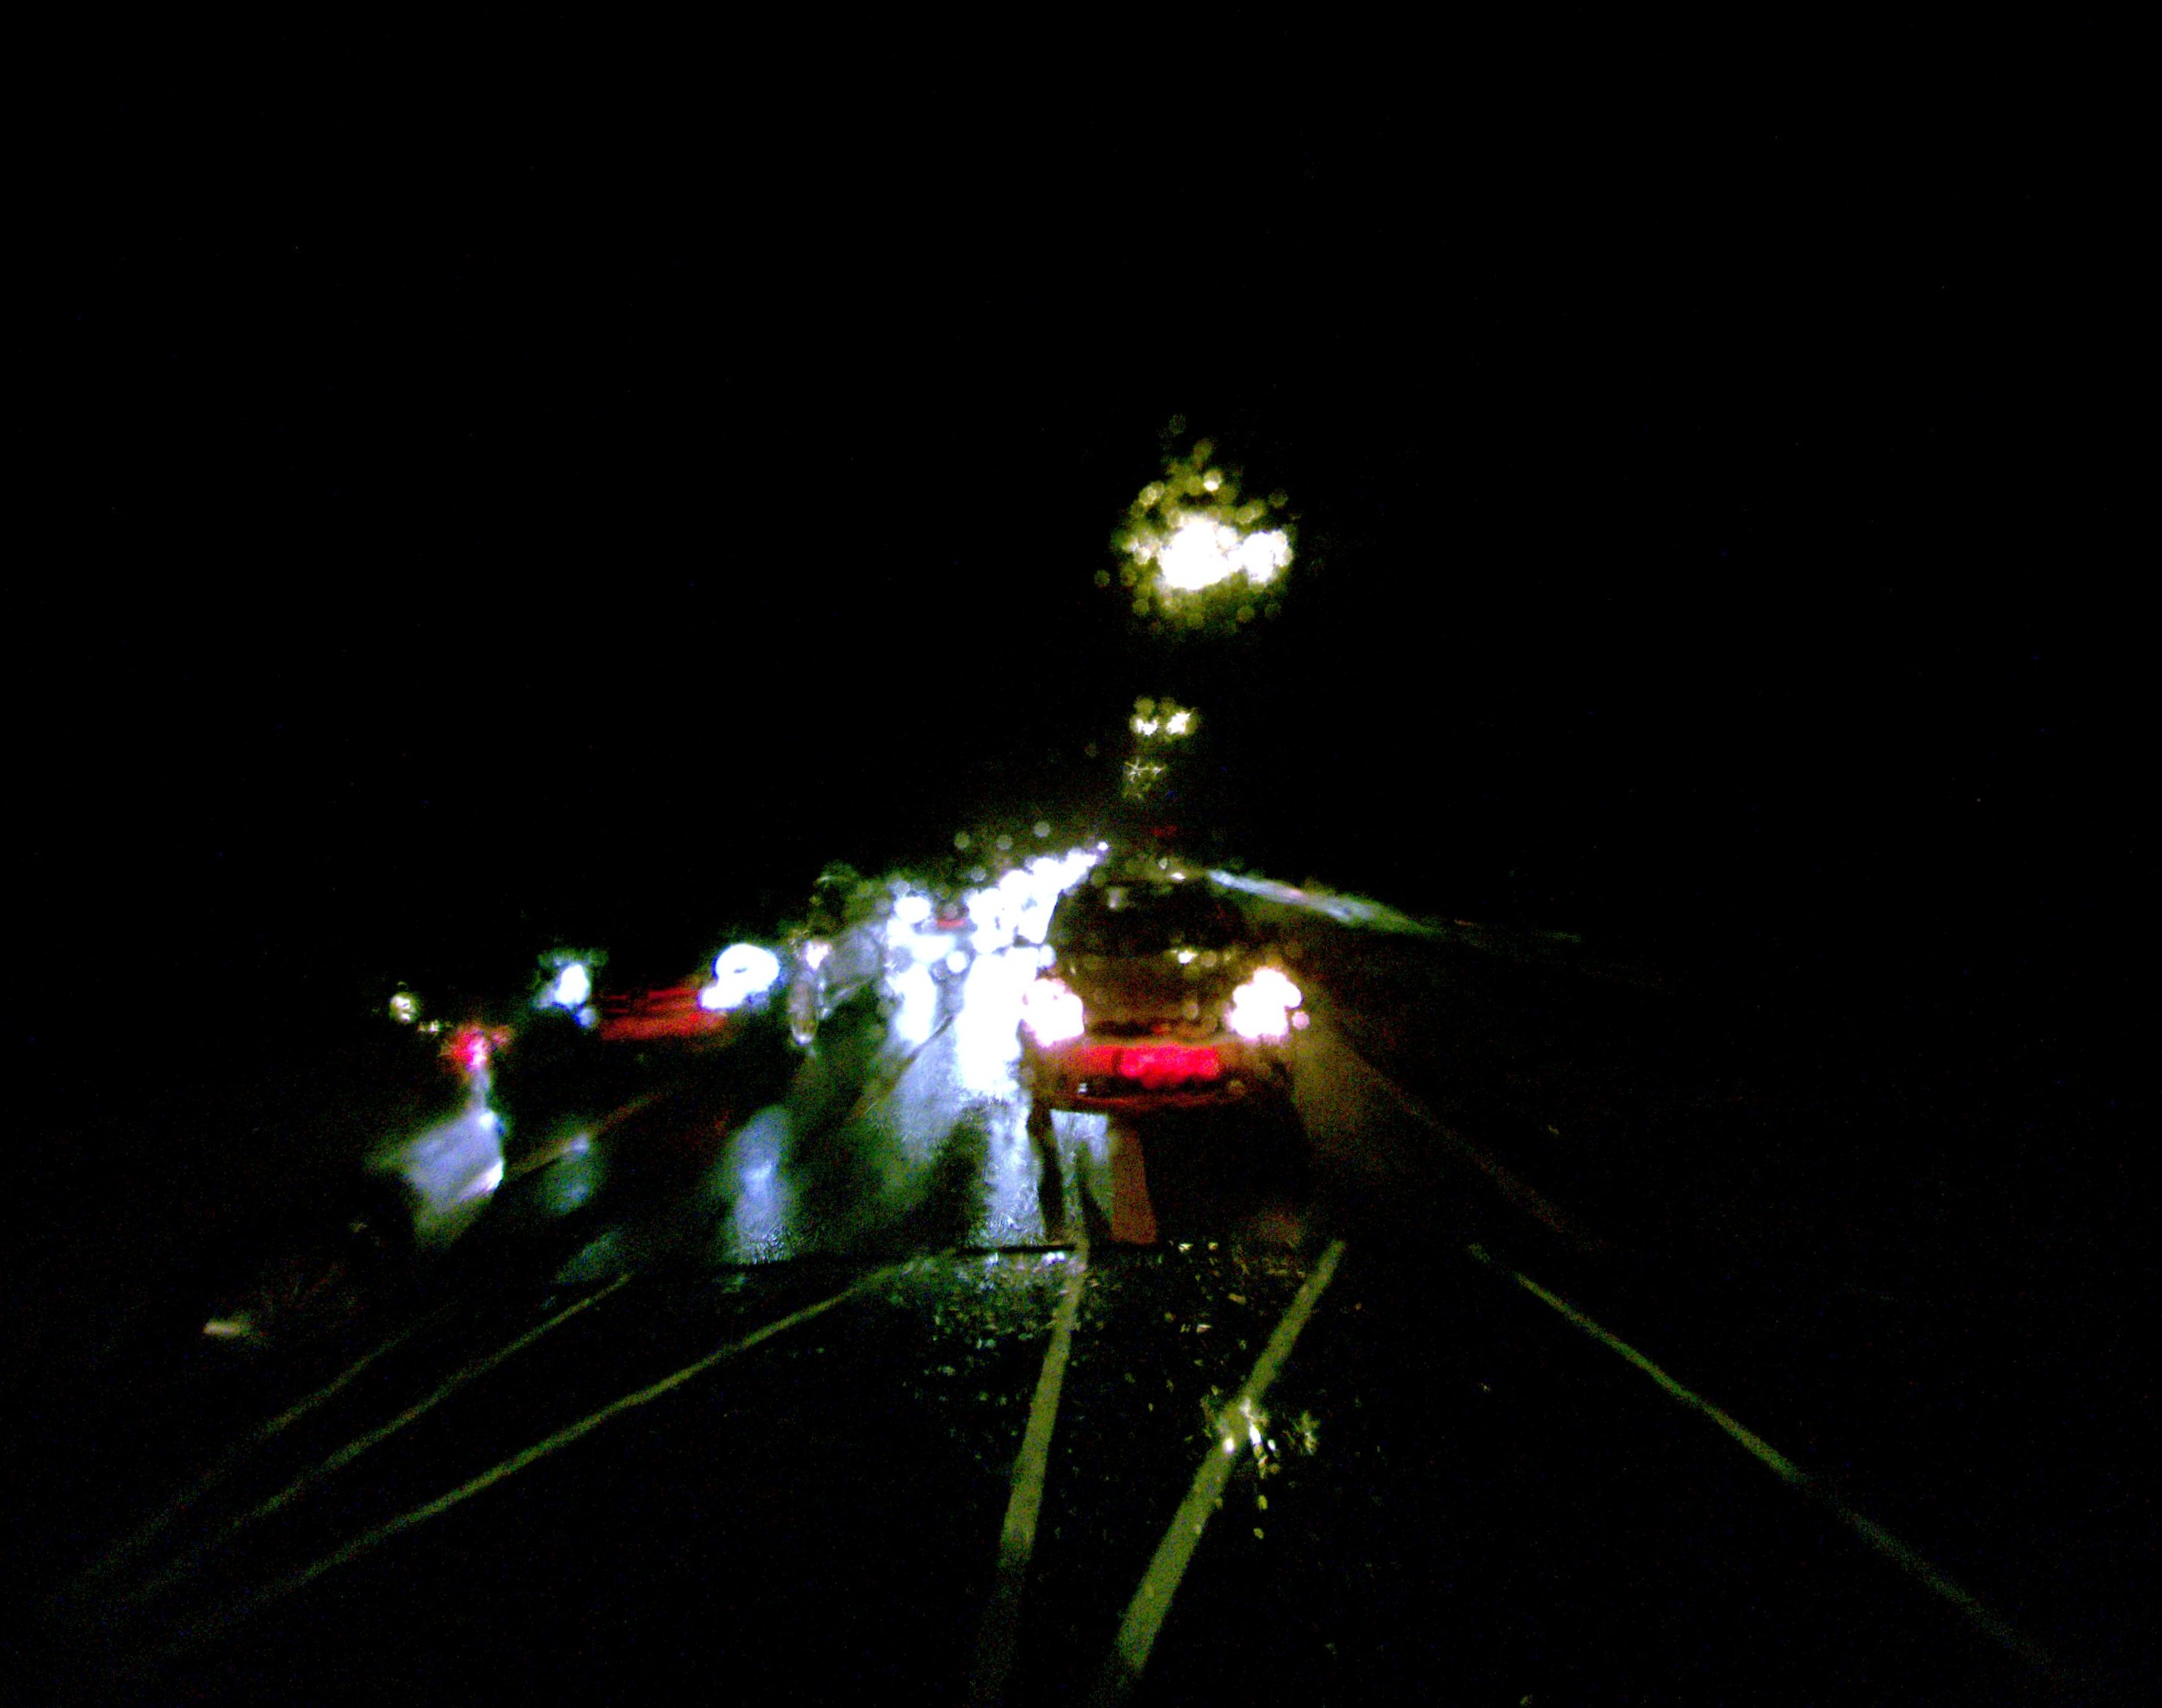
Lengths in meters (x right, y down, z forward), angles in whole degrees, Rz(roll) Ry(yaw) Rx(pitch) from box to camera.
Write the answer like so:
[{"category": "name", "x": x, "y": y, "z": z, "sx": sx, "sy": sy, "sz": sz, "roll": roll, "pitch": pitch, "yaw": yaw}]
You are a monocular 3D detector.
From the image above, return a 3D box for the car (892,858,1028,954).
[{"category": "car", "x": -2.266, "y": 0.921, "z": 15.475, "sx": 1.998, "sy": 1.589, "sz": 4.391, "roll": -1, "pitch": 1, "yaw": 1}]

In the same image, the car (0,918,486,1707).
[{"category": "car", "x": -3.068, "y": 1.041, "z": 0.513, "sx": 1.711, "sy": 1.513, "sz": 4.414, "roll": -2, "pitch": 1, "yaw": 1}]

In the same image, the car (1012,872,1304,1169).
[{"category": "car", "x": 0.434, "y": 0.931, "z": 5.751, "sx": 1.497, "sy": 1.416, "sz": 3.389, "roll": -3, "pitch": 1, "yaw": 1}]

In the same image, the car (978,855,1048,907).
[{"category": "car", "x": -2.297, "y": 0.888, "z": 26.883, "sx": 1.998, "sy": 1.589, "sz": 4.391, "roll": -1, "pitch": 1, "yaw": 1}]

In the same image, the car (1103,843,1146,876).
[{"category": "car", "x": 2.204, "y": 0.253, "z": 39.642, "sx": 1.998, "sy": 1.574, "sz": 4.000, "roll": -2, "pitch": 1, "yaw": 1}]

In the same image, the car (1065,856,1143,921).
[{"category": "car", "x": 0.585, "y": 0.848, "z": 20.596, "sx": 1.838, "sy": 1.417, "sz": 3.698, "roll": -4, "pitch": 1, "yaw": 1}]

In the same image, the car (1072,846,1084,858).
[{"category": "car", "x": -0.515, "y": -0.395, "z": 129.721, "sx": 1.998, "sy": 2.002, "sz": 3.999, "roll": -1, "pitch": 1, "yaw": 0}]

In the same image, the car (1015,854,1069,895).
[{"category": "car", "x": -1.615, "y": 0.810, "z": 32.929, "sx": 1.998, "sy": 1.589, "sz": 4.391, "roll": -1, "pitch": 1, "yaw": 1}]

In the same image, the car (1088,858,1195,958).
[{"category": "car", "x": 0.986, "y": 0.877, "z": 13.796, "sx": 1.606, "sy": 1.417, "sz": 3.389, "roll": -4, "pitch": 1, "yaw": 1}]

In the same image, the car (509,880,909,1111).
[{"category": "car", "x": -3.128, "y": 1.086, "z": 7.494, "sx": 1.743, "sy": 1.409, "sz": 4.140, "roll": -2, "pitch": 1, "yaw": 2}]

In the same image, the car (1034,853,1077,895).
[{"category": "car", "x": -1.285, "y": 0.992, "z": 39.596, "sx": 1.998, "sy": 2.002, "sz": 3.999, "roll": -2, "pitch": 1, "yaw": 1}]

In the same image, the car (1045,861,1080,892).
[{"category": "car", "x": -1.128, "y": 1.378, "z": 47.650, "sx": 1.998, "sy": 1.789, "sz": 4.000, "roll": -1, "pitch": 0, "yaw": 1}]

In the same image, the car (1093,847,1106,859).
[{"category": "car", "x": 2.692, "y": -0.180, "z": 111.670, "sx": 1.869, "sy": 1.654, "sz": 4.000, "roll": -1, "pitch": 0, "yaw": 2}]
